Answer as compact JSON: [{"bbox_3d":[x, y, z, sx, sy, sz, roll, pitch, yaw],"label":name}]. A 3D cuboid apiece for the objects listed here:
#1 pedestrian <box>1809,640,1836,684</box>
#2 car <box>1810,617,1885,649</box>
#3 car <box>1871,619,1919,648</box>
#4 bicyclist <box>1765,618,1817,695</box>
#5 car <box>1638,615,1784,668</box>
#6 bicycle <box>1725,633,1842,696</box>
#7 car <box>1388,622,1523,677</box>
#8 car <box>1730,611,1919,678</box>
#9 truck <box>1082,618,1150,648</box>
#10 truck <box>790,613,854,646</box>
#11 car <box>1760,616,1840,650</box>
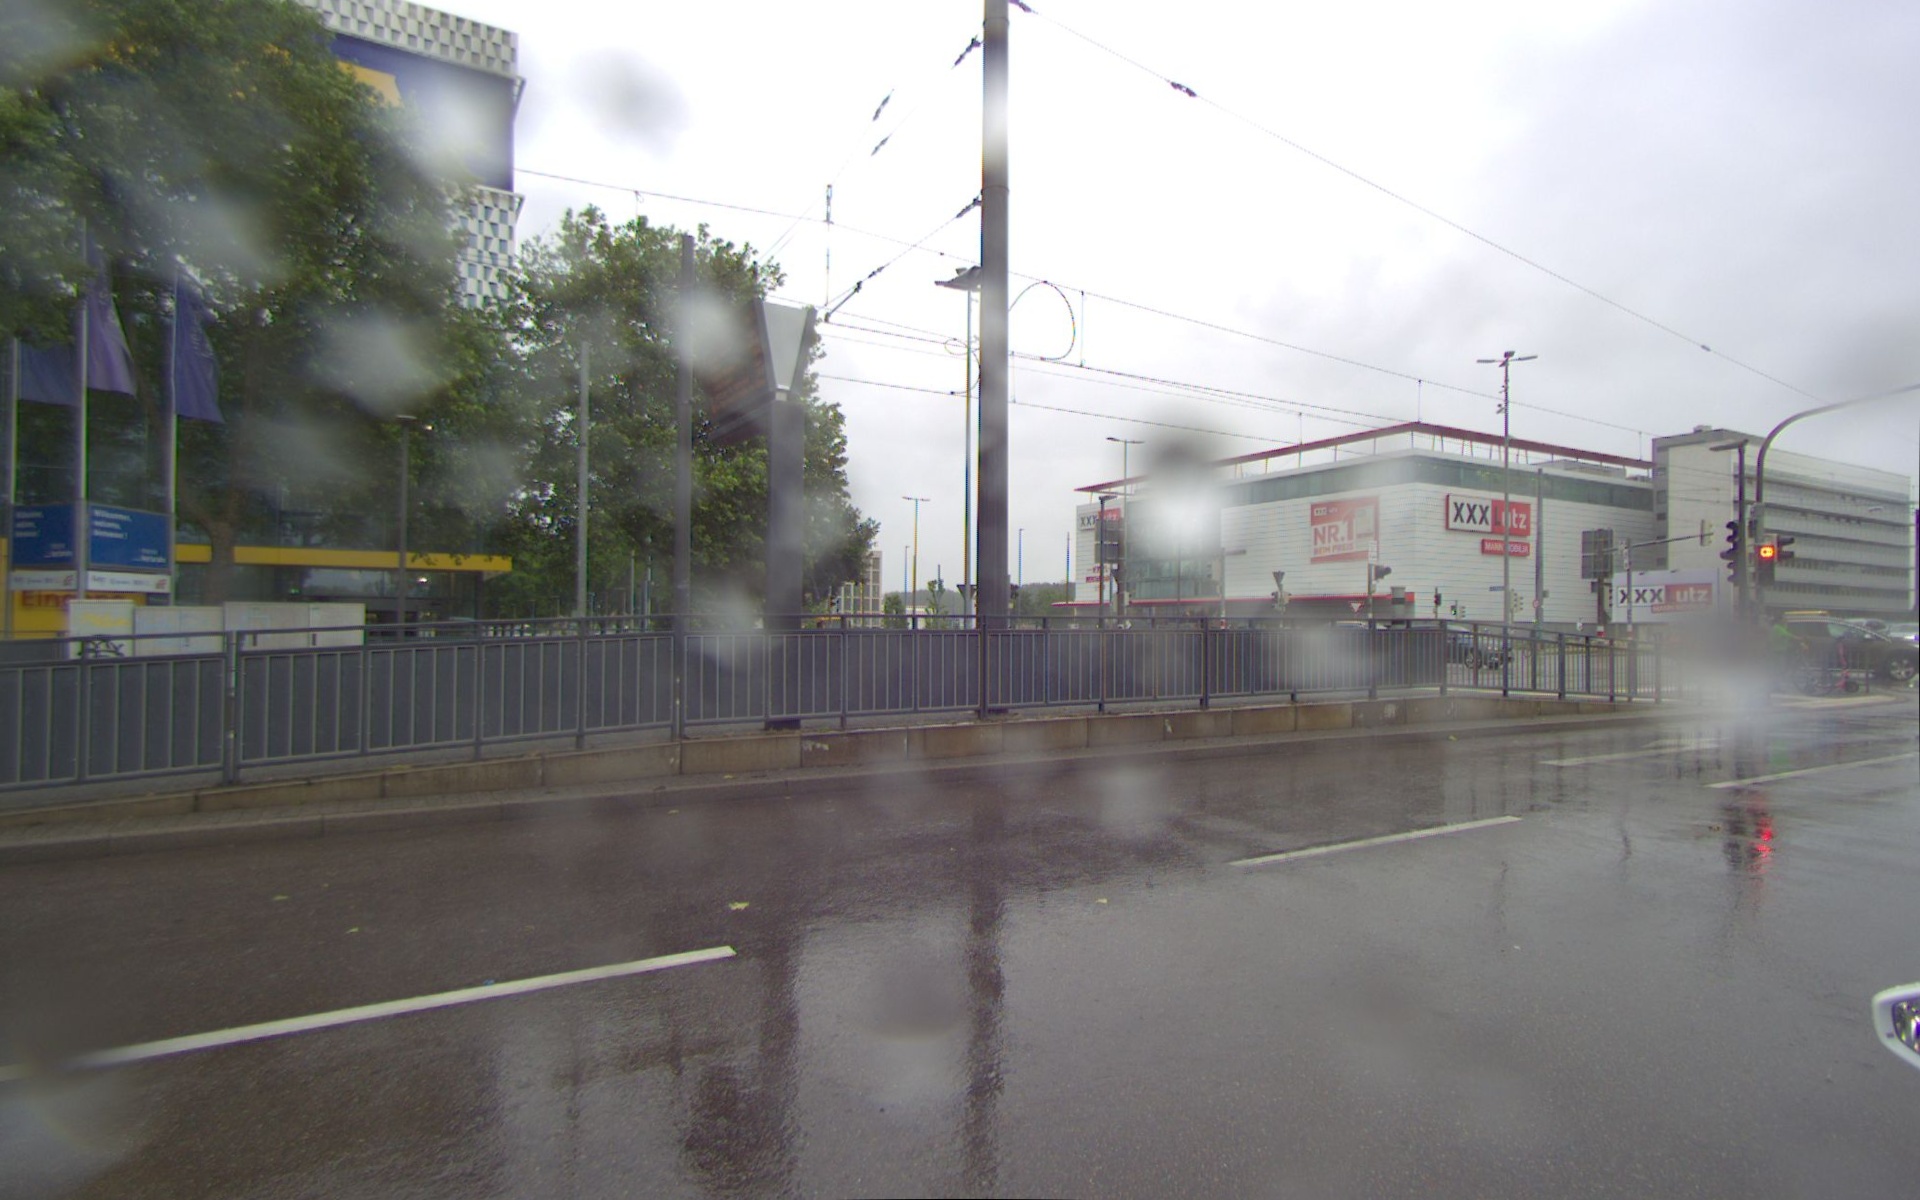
[{"bbox_3d":[18.463,1.329,21.495,0.376,0.909,0.313,1,2,-32],"label":"pedestrian"},{"bbox_3d":[44.788,1.659,50.667,3.765,1.445,1.702,3,1,-30],"label":"car"},{"bbox_3d":[50.966,1.813,54.261,3.527,1.445,1.552,3,1,-30],"label":"car"},{"bbox_3d":[16.834,1.129,20.359,0.593,1.511,0.600,2,0,20],"label":"bicyclist"},{"bbox_3d":[24.607,1.340,33.026,3.384,1.417,1.651,3,2,8],"label":"car"},{"bbox_3d":[16.697,1.295,20.402,1.724,1.153,0.520,2,0,18],"label":"bicycle"},{"bbox_3d":[16.317,1.599,33.253,1.518,1.417,3.764,1,3,-31],"label":"car"},{"bbox_3d":[23.263,1.154,26.973,3.854,1.417,1.533,4,3,30],"label":"car"},{"bbox_3d":[12.250,2.609,79.376,1.990,1.968,5.847,3,1,-31],"label":"truck"},{"bbox_3d":[-11.375,2.364,81.994,2.445,2.240,7.329,3,1,-31],"label":"truck"},{"bbox_3d":[39.809,1.580,47.613,3.765,1.445,1.702,3,1,-30],"label":"car"}]
